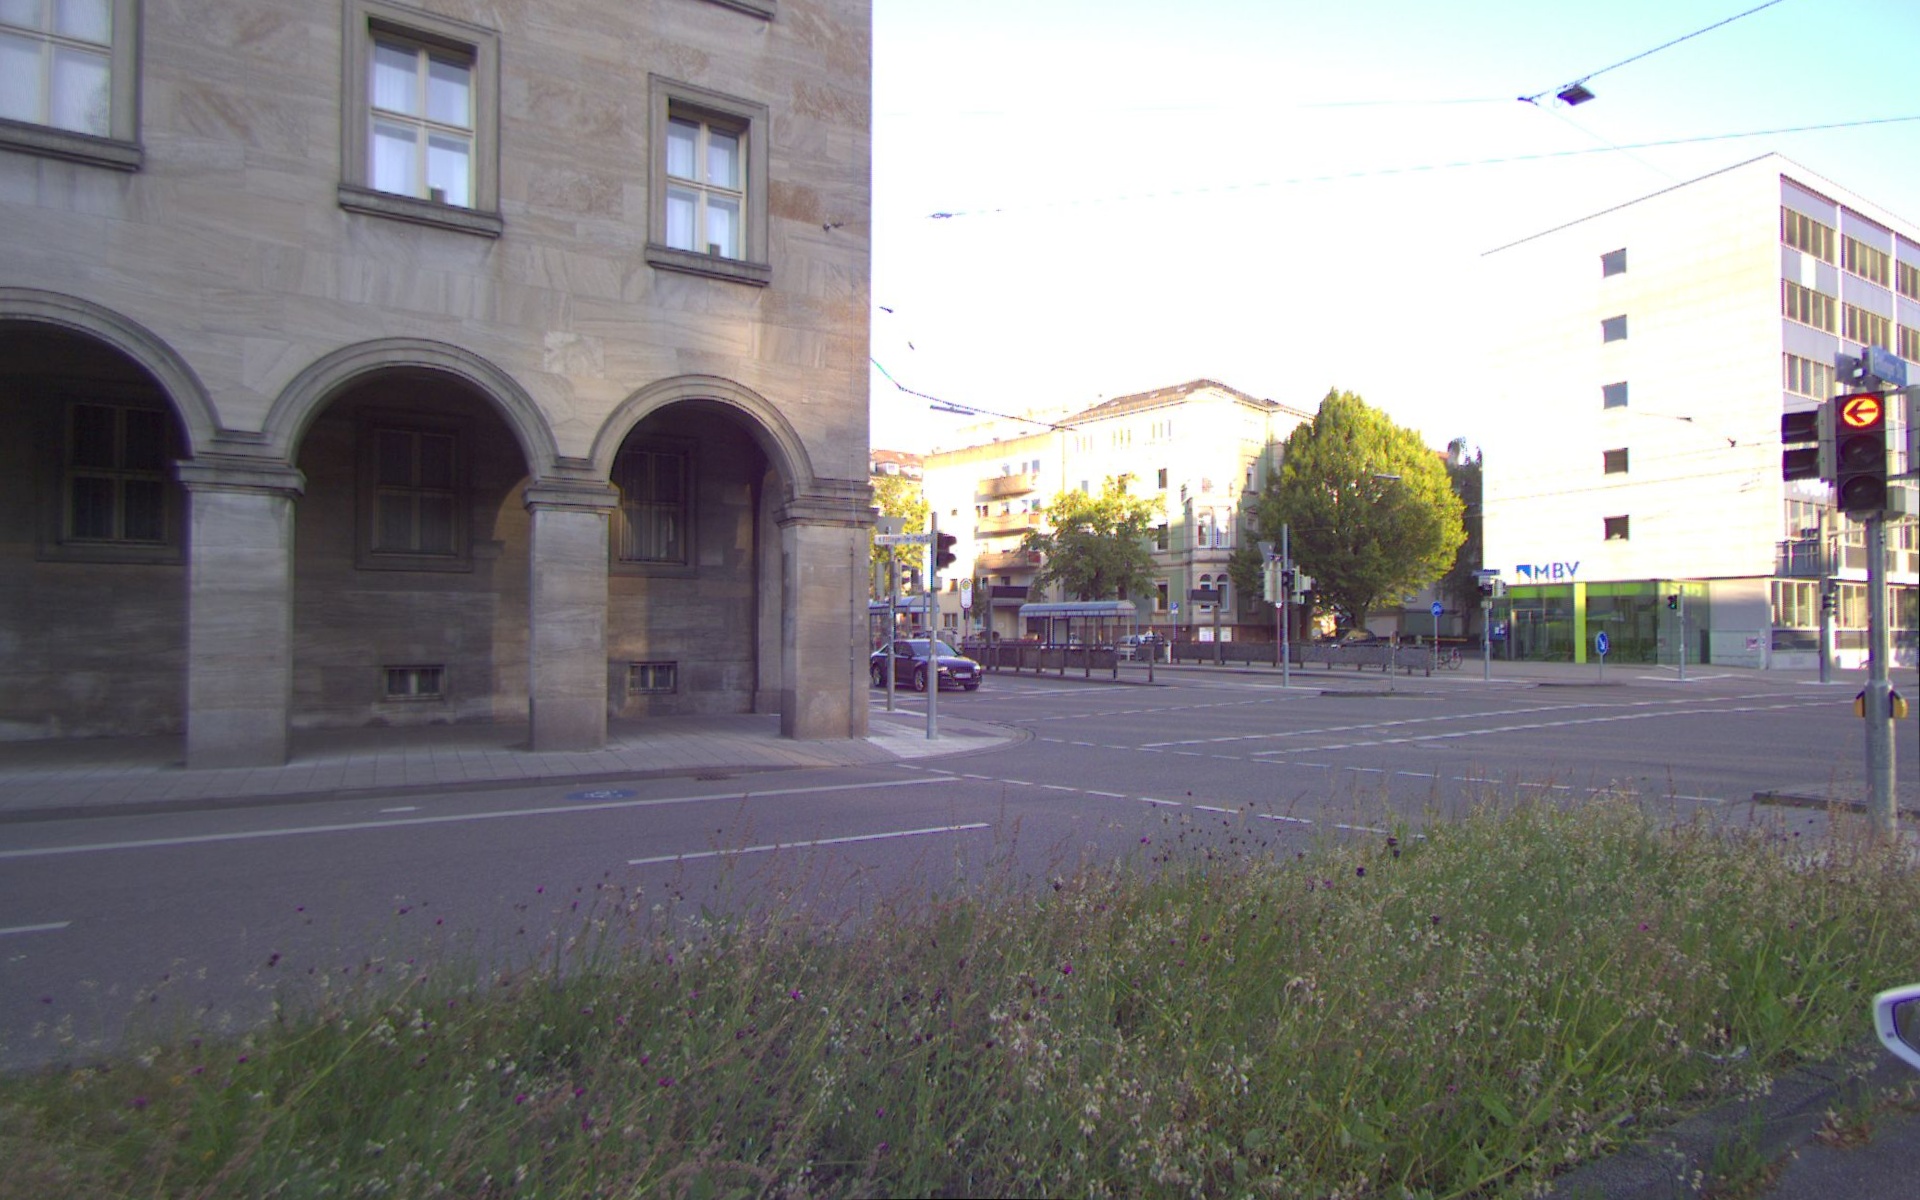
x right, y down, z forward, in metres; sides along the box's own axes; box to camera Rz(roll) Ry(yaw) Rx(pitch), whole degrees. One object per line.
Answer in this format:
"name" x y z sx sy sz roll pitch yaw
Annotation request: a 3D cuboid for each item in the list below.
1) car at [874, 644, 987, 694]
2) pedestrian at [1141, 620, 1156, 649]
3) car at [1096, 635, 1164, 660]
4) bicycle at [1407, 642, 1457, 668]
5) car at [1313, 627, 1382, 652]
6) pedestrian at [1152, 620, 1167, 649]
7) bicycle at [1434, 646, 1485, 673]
"car" -0.955 1.980 29.760 1.791 1.344 4.120 1 -2 -27
"pedestrian" 12.014 2.183 63.911 0.718 1.813 0.634 2 -2 -44
"car" 10.017 2.778 59.217 3.545 1.390 1.830 -2 -3 45
"bicycle" 21.011 2.420 44.695 2.183 1.127 0.834 1 -2 -26
"car" 21.657 2.196 56.114 3.553 1.390 1.826 1 -2 -32
"pedestrian" 12.776 2.221 64.254 0.718 1.813 0.634 2 -2 -43
"bicycle" 21.604 2.558 43.432 2.183 1.127 0.834 1 -2 -26
